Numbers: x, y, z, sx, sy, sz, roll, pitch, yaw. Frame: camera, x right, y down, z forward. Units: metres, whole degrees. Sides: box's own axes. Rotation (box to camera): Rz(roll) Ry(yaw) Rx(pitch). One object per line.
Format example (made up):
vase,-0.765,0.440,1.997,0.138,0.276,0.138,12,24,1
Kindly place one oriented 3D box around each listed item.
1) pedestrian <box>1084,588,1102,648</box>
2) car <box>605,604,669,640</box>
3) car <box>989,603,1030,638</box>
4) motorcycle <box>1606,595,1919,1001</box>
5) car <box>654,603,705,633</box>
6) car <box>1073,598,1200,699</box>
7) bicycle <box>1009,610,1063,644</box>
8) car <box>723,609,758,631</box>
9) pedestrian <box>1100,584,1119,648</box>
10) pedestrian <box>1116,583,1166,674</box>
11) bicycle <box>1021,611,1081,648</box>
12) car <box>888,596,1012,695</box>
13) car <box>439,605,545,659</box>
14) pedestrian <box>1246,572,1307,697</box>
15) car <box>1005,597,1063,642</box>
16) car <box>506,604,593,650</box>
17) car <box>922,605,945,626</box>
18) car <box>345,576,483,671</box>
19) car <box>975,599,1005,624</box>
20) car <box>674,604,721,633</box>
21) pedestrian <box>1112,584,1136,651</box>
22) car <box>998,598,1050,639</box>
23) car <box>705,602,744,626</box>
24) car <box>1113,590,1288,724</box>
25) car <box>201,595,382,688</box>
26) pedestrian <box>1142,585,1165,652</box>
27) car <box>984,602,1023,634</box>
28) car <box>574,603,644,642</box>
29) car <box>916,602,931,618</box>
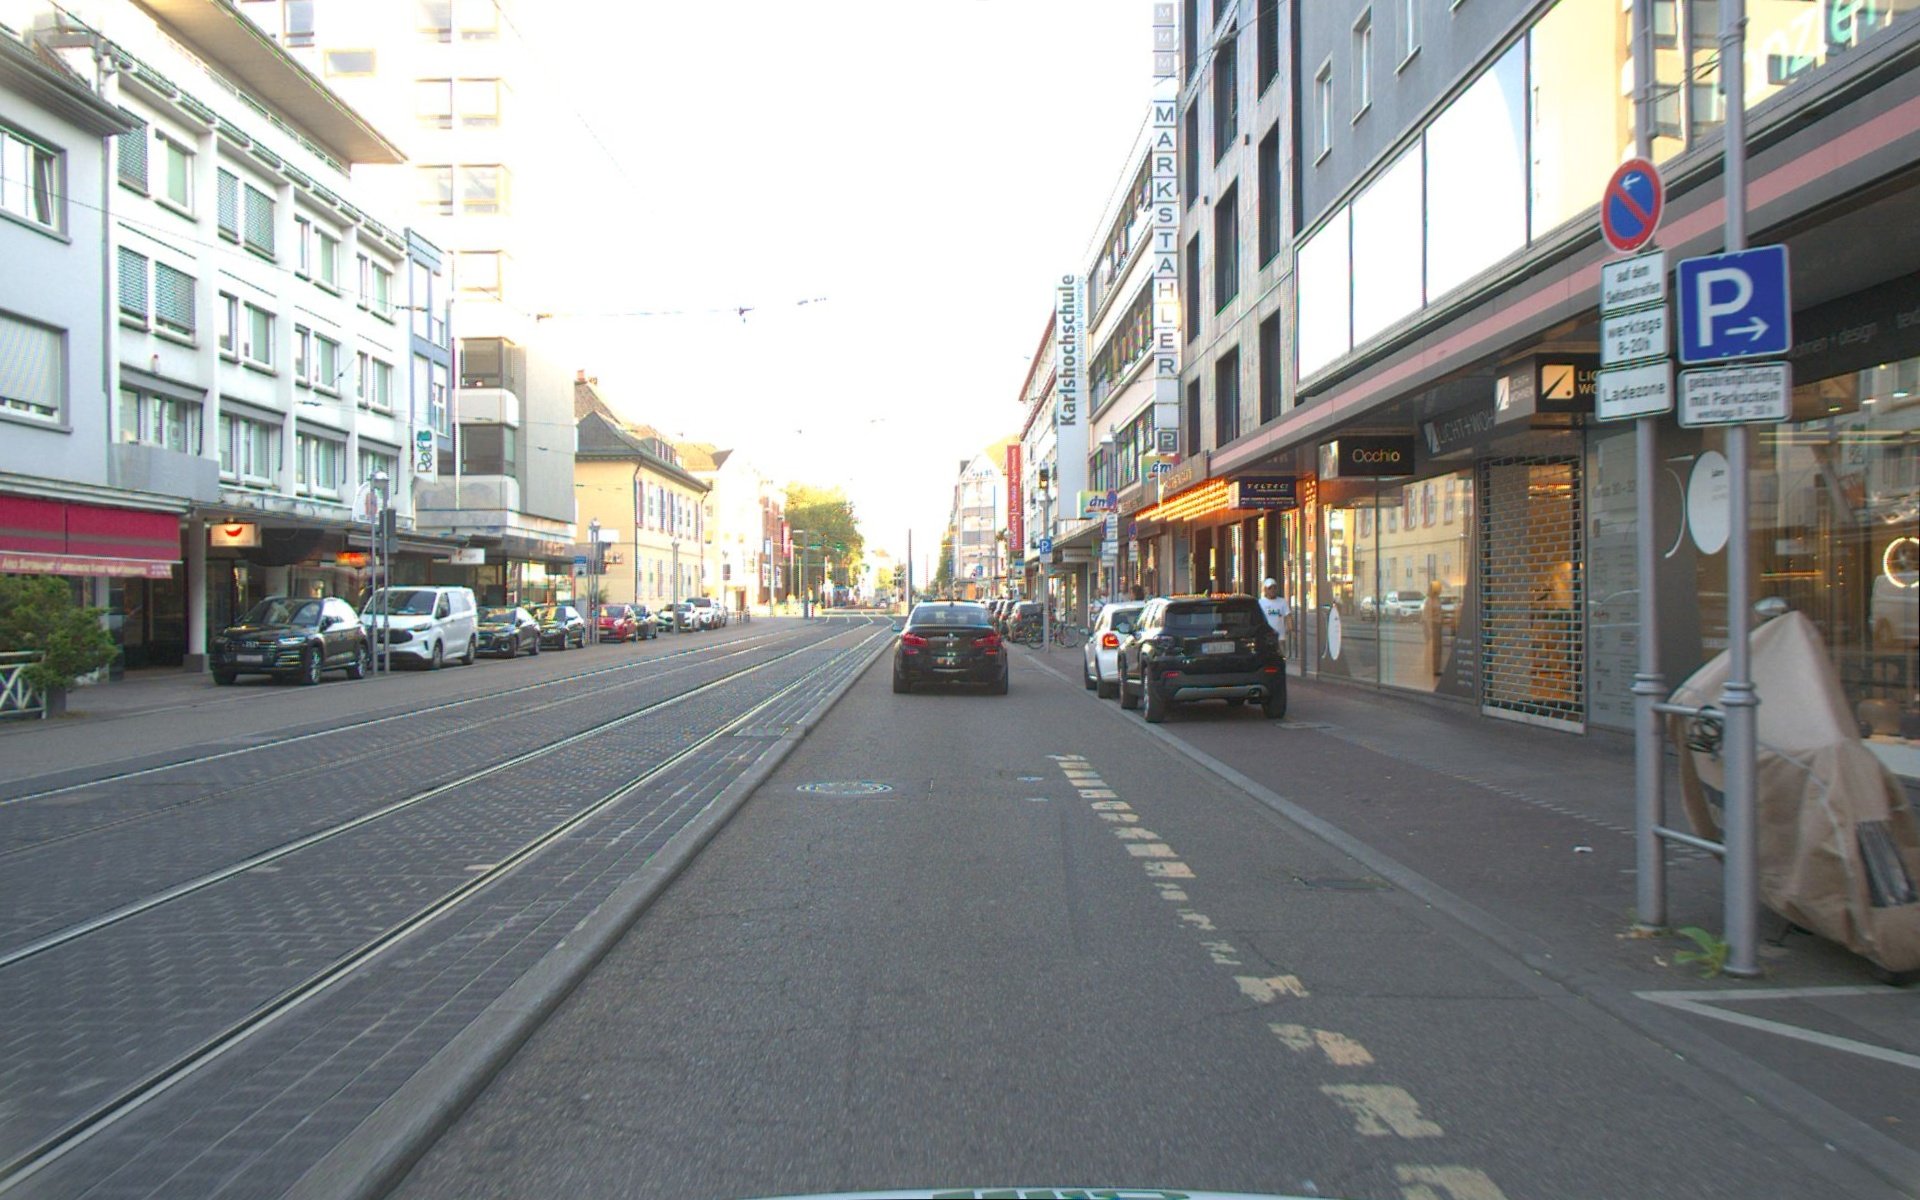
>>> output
pedestrian,3.853,0.512,47.809,0.465,1.729,0.752,-1,0,3
car,-13.657,0.900,70.130,1.889,1.460,4.245,1,0,-1
car,2.261,0.936,76.035,1.738,1.576,3.502,0,-1,-1
motorcycle,3.672,0.722,7.127,0.827,1.443,2.164,-3,0,-1
car,-14.121,0.898,83.445,1.889,1.460,4.245,-1,0,-1
car,2.801,0.733,26.891,1.528,1.467,3.708,-3,0,-1
bicycle,2.583,0.917,56.455,1.823,1.139,0.468,0,-1,0
car,-14.974,1.350,112.996,1.889,1.460,4.245,1,0,-1
pedestrian,4.327,0.457,47.794,0.478,1.821,0.760,-1,0,2
pedestrian,3.372,0.526,30.840,0.552,1.676,0.750,-1,0,-35
bicycle,2.785,0.906,50.689,1.823,1.099,0.468,0,-1,0
car,-0.136,0.729,27.856,1.913,1.525,4.465,0,-1,0
car,-13.551,0.894,48.139,1.889,1.460,4.245,1,0,-1
pedestrian,4.630,0.498,24.261,0.674,1.771,0.820,-2,0,0
car,2.635,0.716,59.664,1.864,1.576,3.999,0,-1,-1
car,-13.641,0.865,55.210,1.889,1.460,4.245,1,0,-1
car,-2.045,1.223,127.210,1.738,1.576,3.502,0,-1,-1
car,-13.331,0.545,40.702,1.953,2.194,4.908,0,0,-2
car,1.859,0.719,102.750,1.738,1.576,3.502,0,-1,-1
car,-14.191,0.983,89.621,1.889,1.460,4.245,1,0,-1
pedestrian,4.541,0.490,45.786,0.542,1.823,0.759,-1,0,-1
car,2.554,0.760,66.682,1.864,1.576,3.779,0,-1,-1
car,-14.733,0.865,103.800,1.889,1.460,4.245,1,0,-1
car,3.069,0.679,21.780,1.621,1.564,3.884,-2,0,-1
car,-13.226,0.775,33.021,1.822,1.707,4.463,1,0,-1
pedestrian,5.318,0.507,45.476,0.497,1.824,0.760,-1,0,-1
car,2.124,0.892,81.368,1.738,1.576,3.502,0,-1,-1
car,-13.747,0.854,65.039,1.889,1.460,4.245,1,0,-1
car,-4.776,1.318,219.284,1.953,1.870,3.998,0,-3,-1
